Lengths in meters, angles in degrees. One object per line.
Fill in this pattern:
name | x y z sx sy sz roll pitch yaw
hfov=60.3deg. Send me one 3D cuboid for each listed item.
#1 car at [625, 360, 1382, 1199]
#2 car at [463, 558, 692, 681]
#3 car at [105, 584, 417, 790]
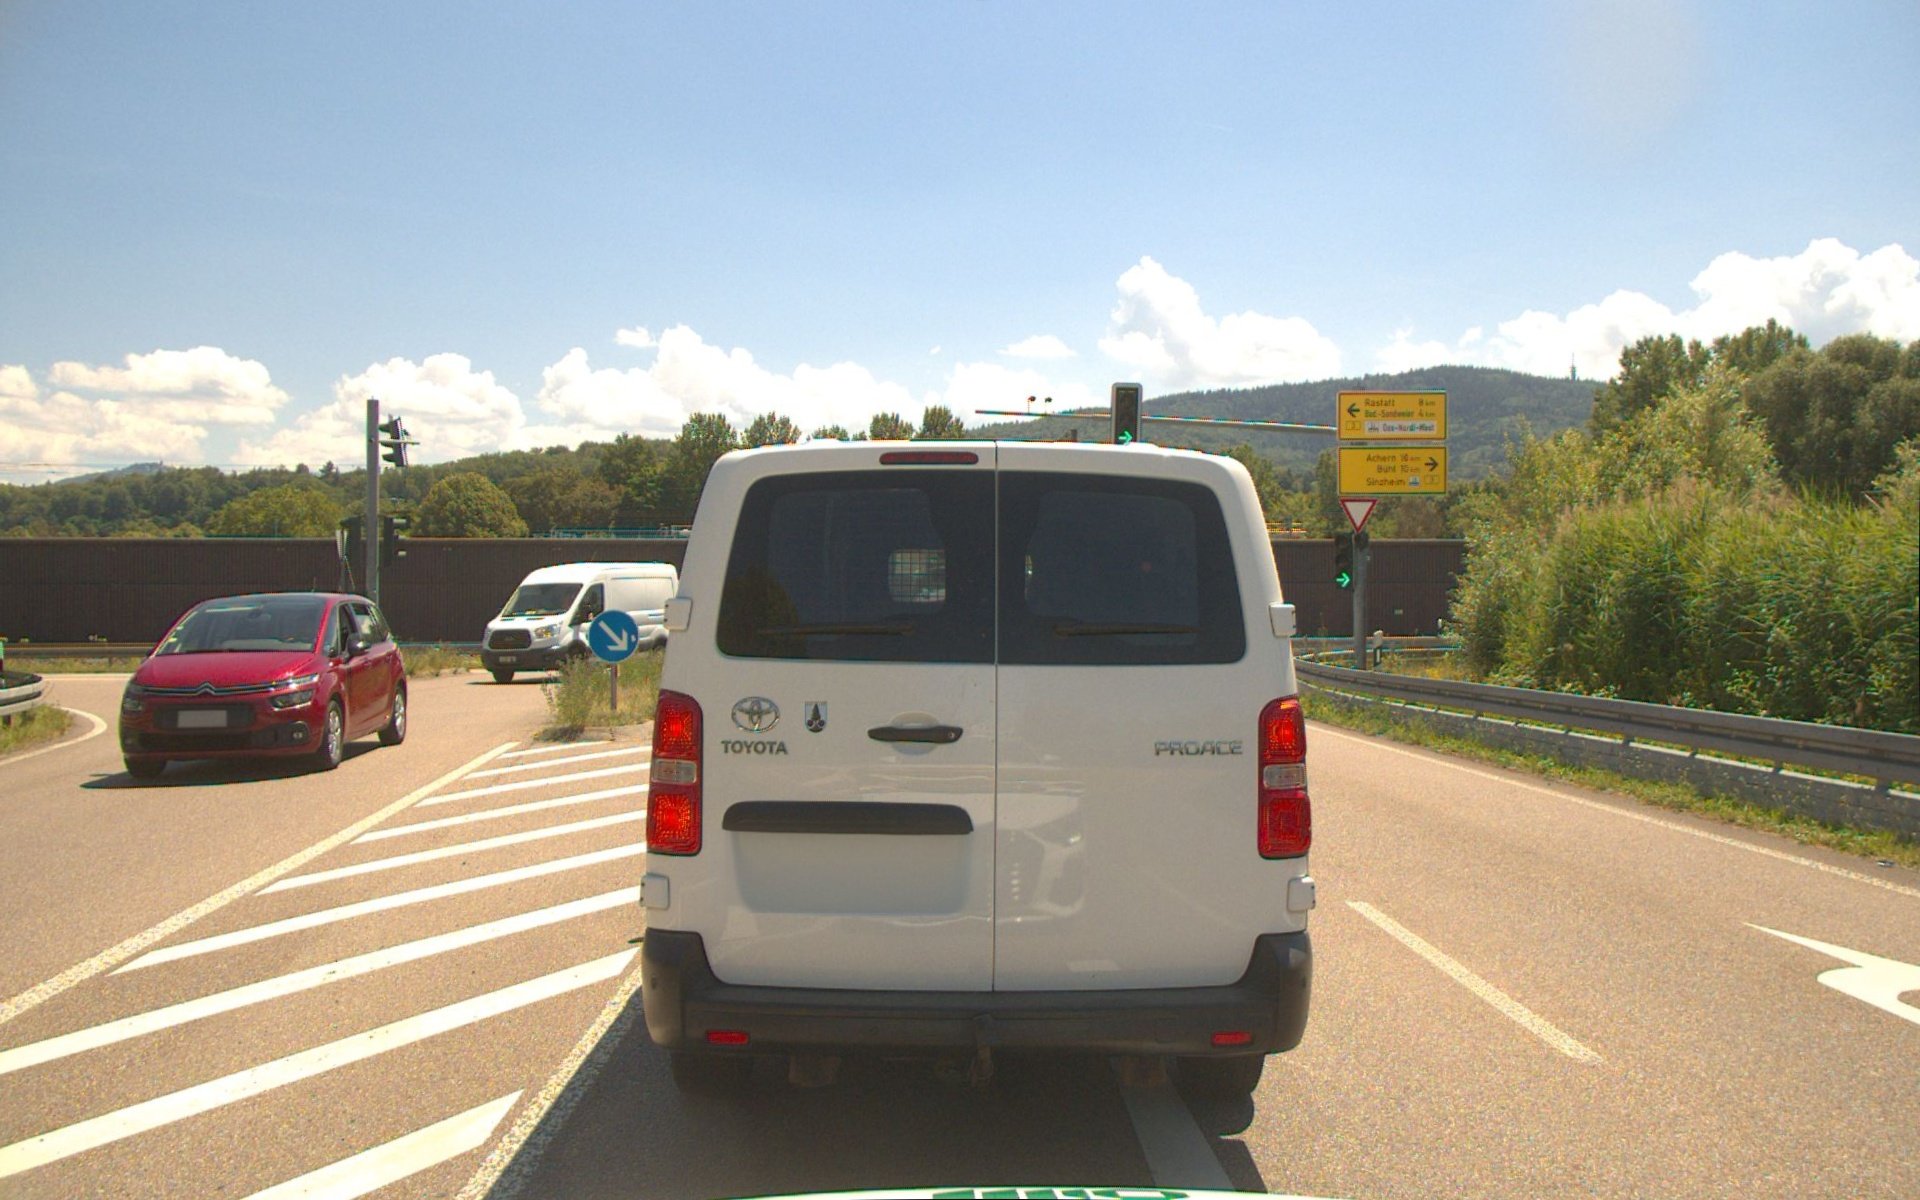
car | 0.080 0.477 5.902 1.778 2.053 3.999 0 0 -1
car | -8.169 0.373 36.013 1.953 2.458 5.589 -2 0 22
car | -6.664 0.755 16.264 1.703 1.715 4.202 -1 0 -7
